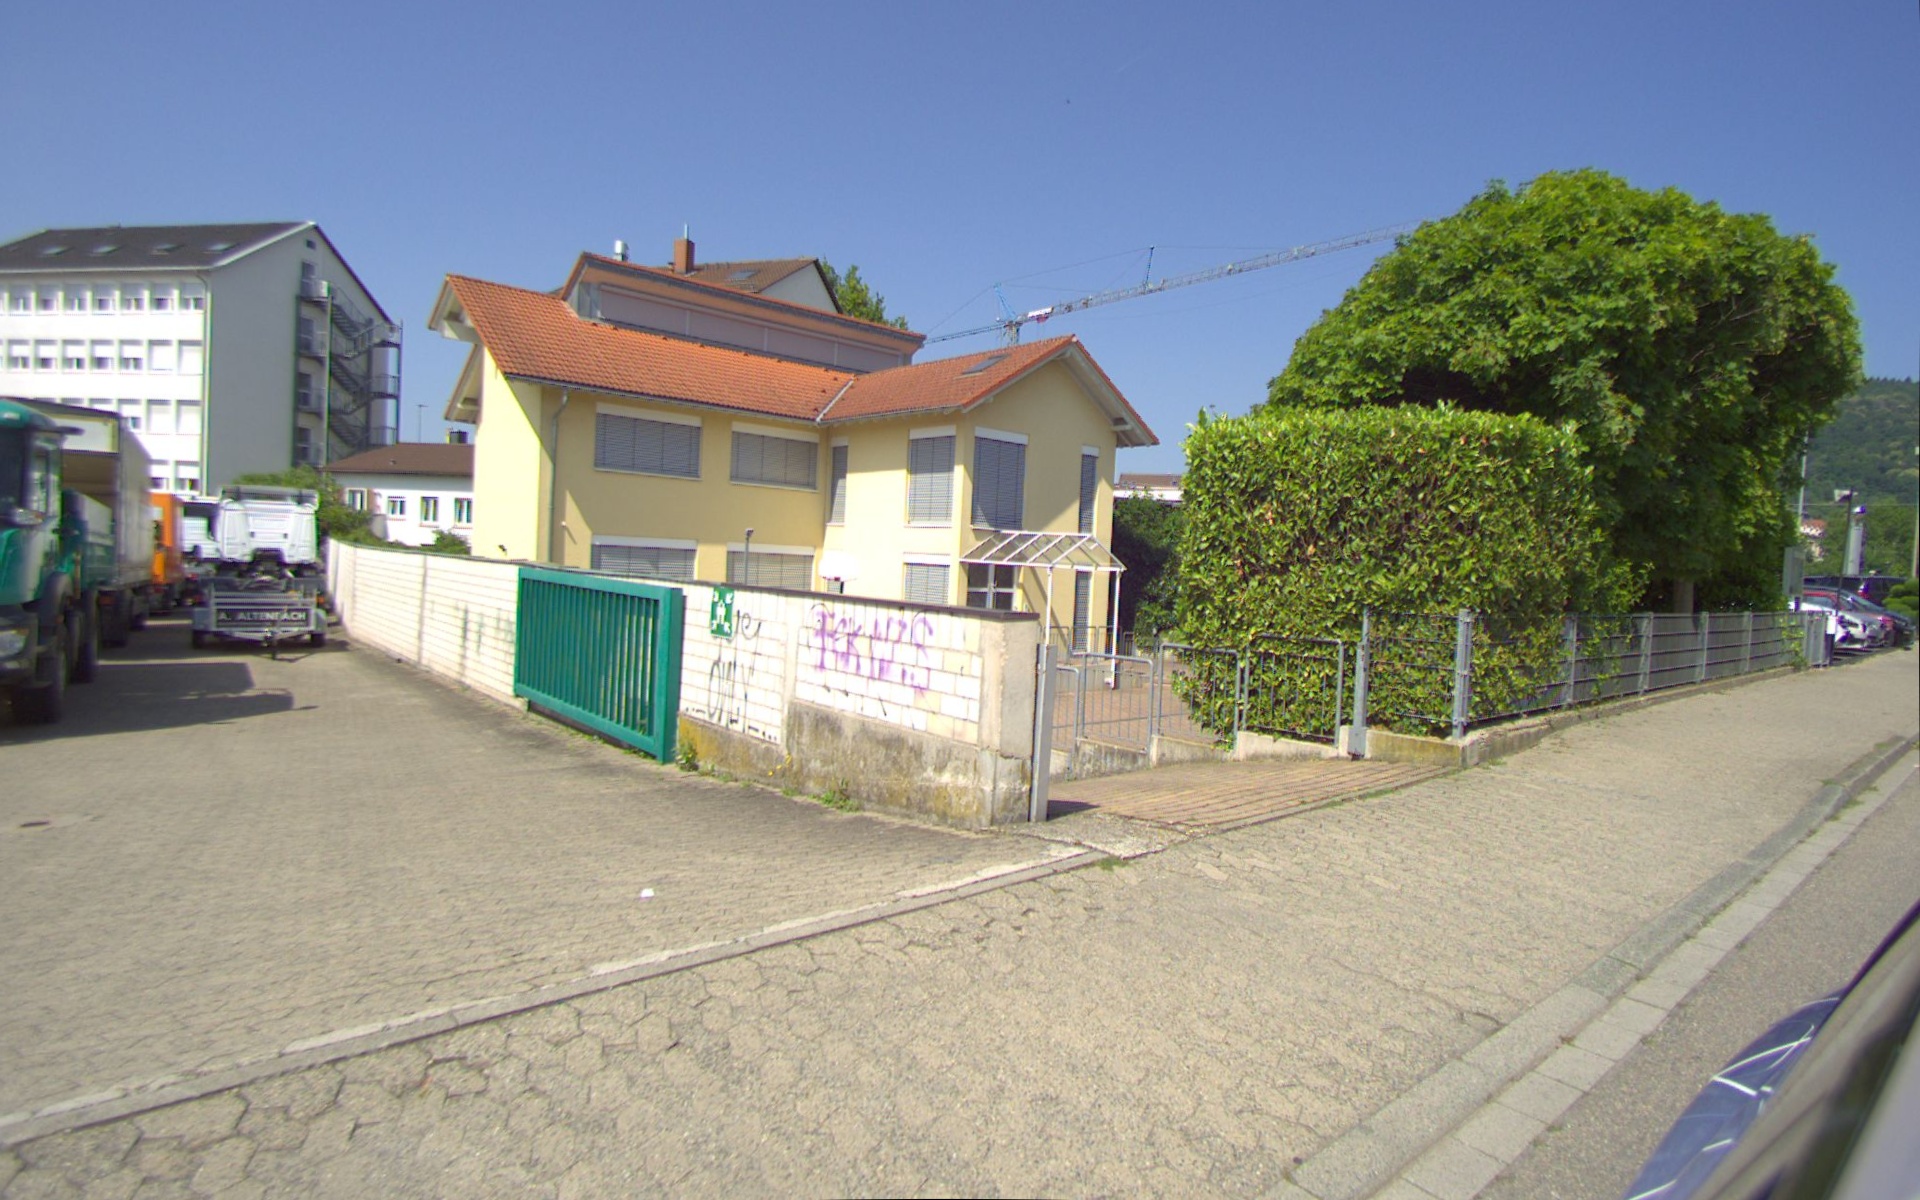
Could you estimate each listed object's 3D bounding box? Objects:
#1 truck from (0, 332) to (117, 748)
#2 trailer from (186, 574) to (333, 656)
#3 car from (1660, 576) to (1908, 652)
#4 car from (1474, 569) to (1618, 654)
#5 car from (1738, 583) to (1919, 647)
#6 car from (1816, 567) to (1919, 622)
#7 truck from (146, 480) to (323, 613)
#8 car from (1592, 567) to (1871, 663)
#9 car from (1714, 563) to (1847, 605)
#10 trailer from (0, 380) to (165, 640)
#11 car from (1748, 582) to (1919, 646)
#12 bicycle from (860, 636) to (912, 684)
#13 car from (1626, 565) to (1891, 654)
[{"bbox_3d":[-11.746,-0.724,11.555,2.899,3.655,8.300,1,2,-38],"label":"truck"},{"bbox_3d":[-13.404,0.222,19.271,1.965,1.330,3.700,1,2,-40],"label":"trailer"},{"bbox_3d":[19.955,0.269,24.670,1.864,1.515,4.411,0,3,-41],"label":"car"},{"bbox_3d":[14.445,0.215,24.894,3.724,1.882,1.997,-1,2,-42],"label":"car"},{"bbox_3d":[22.191,0.337,25.756,1.532,1.351,3.556,0,3,-42],"label":"car"},{"bbox_3d":[33.159,-0.187,35.821,4.205,1.803,1.856,2,3,-5],"label":"car"},{"bbox_3d":[-20.388,-1.398,28.599,3.925,3.523,1.864,1,-1,-36],"label":"truck"},{"bbox_3d":[16.160,0.235,21.380,1.812,1.673,4.409,0,3,-43],"label":"car"},{"bbox_3d":[35.265,-0.657,43.525,4.716,1.714,2.021,0,-1,-14],"label":"car"},{"bbox_3d":[-16.879,-1.572,18.650,3.009,3.910,8.365,1,3,-35],"label":"trailer"},{"bbox_3d":[24.207,0.373,27.821,1.729,1.645,3.807,1,-1,-42],"label":"car"},{"bbox_3d":[-1.829,1.476,25.246,0.610,1.005,1.803,4,2,18],"label":"bicycle"},{"bbox_3d":[17.999,0.134,22.980,1.865,1.545,4.411,-1,5,-43],"label":"car"}]
